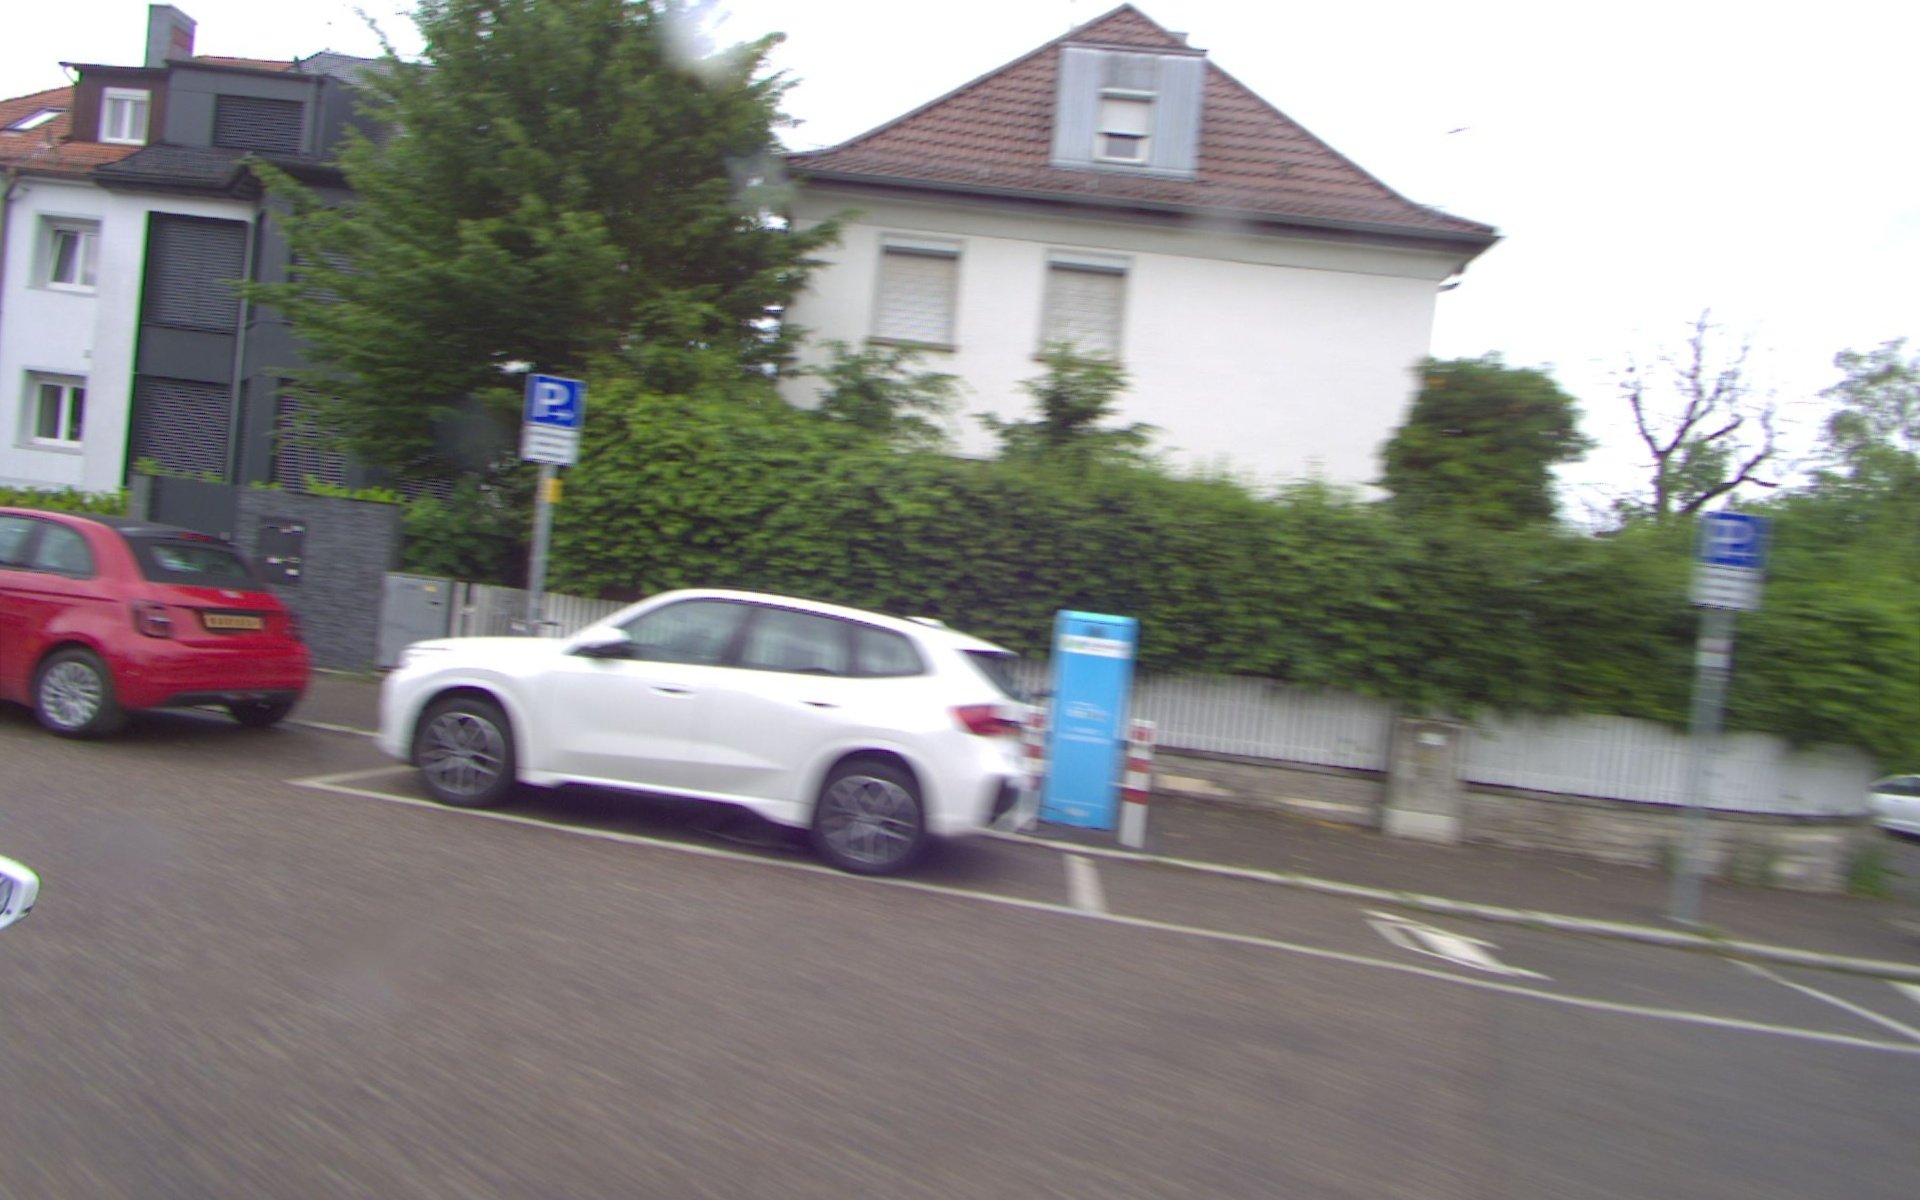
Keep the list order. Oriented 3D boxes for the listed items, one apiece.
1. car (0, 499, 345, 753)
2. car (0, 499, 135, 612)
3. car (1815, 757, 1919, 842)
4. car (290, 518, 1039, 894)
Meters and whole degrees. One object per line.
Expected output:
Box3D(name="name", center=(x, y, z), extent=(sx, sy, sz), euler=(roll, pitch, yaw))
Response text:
Box3D(name="car", center=(-6.981, 0.065, 7.724), extent=(3.473, 1.555, 1.618), euler=(7, -1, 8))
Box3D(name="car", center=(-13.843, -0.680, 13.307), extent=(1.963, 1.434, 4.560), euler=(7, 1, 1))
Box3D(name="car", center=(21.462, 4.566, 22.271), extent=(1.738, 1.480, 4.004), euler=(7, -2, 5))
Box3D(name="car", center=(-1.824, 0.655, 7.067), extent=(4.559, 1.692, 1.751), euler=(7, -1, 5))
